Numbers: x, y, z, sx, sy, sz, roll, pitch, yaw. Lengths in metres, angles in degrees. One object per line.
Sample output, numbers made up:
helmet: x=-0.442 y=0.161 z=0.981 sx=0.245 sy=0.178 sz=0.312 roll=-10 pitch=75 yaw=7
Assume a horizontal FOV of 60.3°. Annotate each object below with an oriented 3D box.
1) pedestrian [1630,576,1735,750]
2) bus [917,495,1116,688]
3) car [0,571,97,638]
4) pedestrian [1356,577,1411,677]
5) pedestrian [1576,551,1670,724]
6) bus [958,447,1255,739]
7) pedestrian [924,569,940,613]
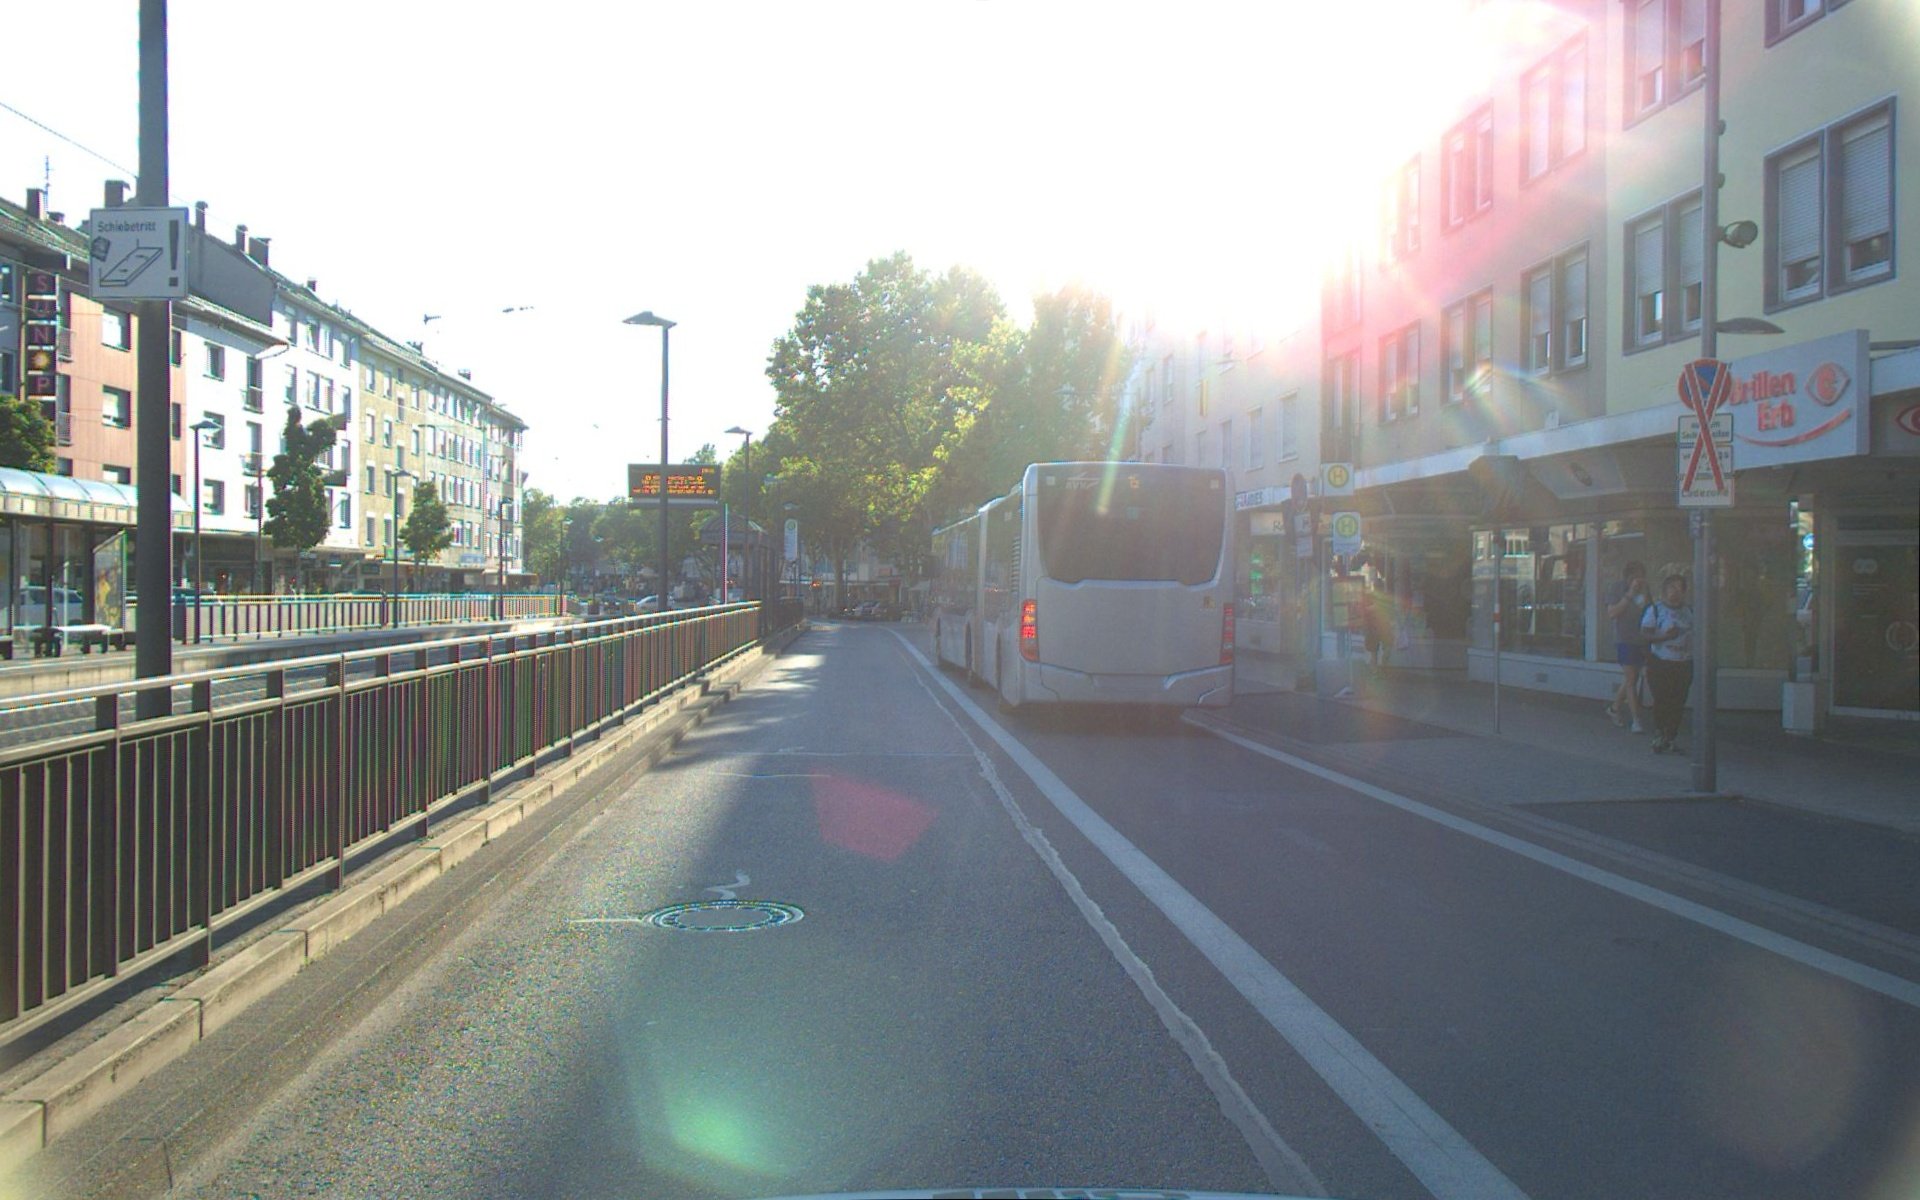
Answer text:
pedestrian: x=6.863 y=0.581 z=15.744 sx=0.598 sy=1.606 sz=0.850 roll=0 pitch=0 yaw=-4
bus: x=0.826 y=-0.169 z=32.017 sx=2.644 sy=3.172 sz=9.059 roll=1 pitch=0 yaw=-6
car: x=-24.775 y=0.107 z=43.303 sx=1.735 sy=1.709 sz=3.498 roll=1 pitch=0 yaw=35
pedestrian: x=7.172 y=0.448 z=28.037 sx=0.709 sy=1.661 sz=0.766 roll=0 pitch=0 yaw=-4
pedestrian: x=7.320 y=0.403 z=18.292 sx=0.709 sy=1.872 sz=0.766 roll=0 pitch=0 yaw=-4
bus: x=1.617 y=-0.100 z=22.874 sx=2.643 sy=3.172 sz=9.374 roll=1 pitch=0 yaw=-4
pedestrian: x=-1.642 y=-0.516 z=96.929 sx=0.871 sy=2.591 sz=1.163 roll=0 pitch=0 yaw=3
